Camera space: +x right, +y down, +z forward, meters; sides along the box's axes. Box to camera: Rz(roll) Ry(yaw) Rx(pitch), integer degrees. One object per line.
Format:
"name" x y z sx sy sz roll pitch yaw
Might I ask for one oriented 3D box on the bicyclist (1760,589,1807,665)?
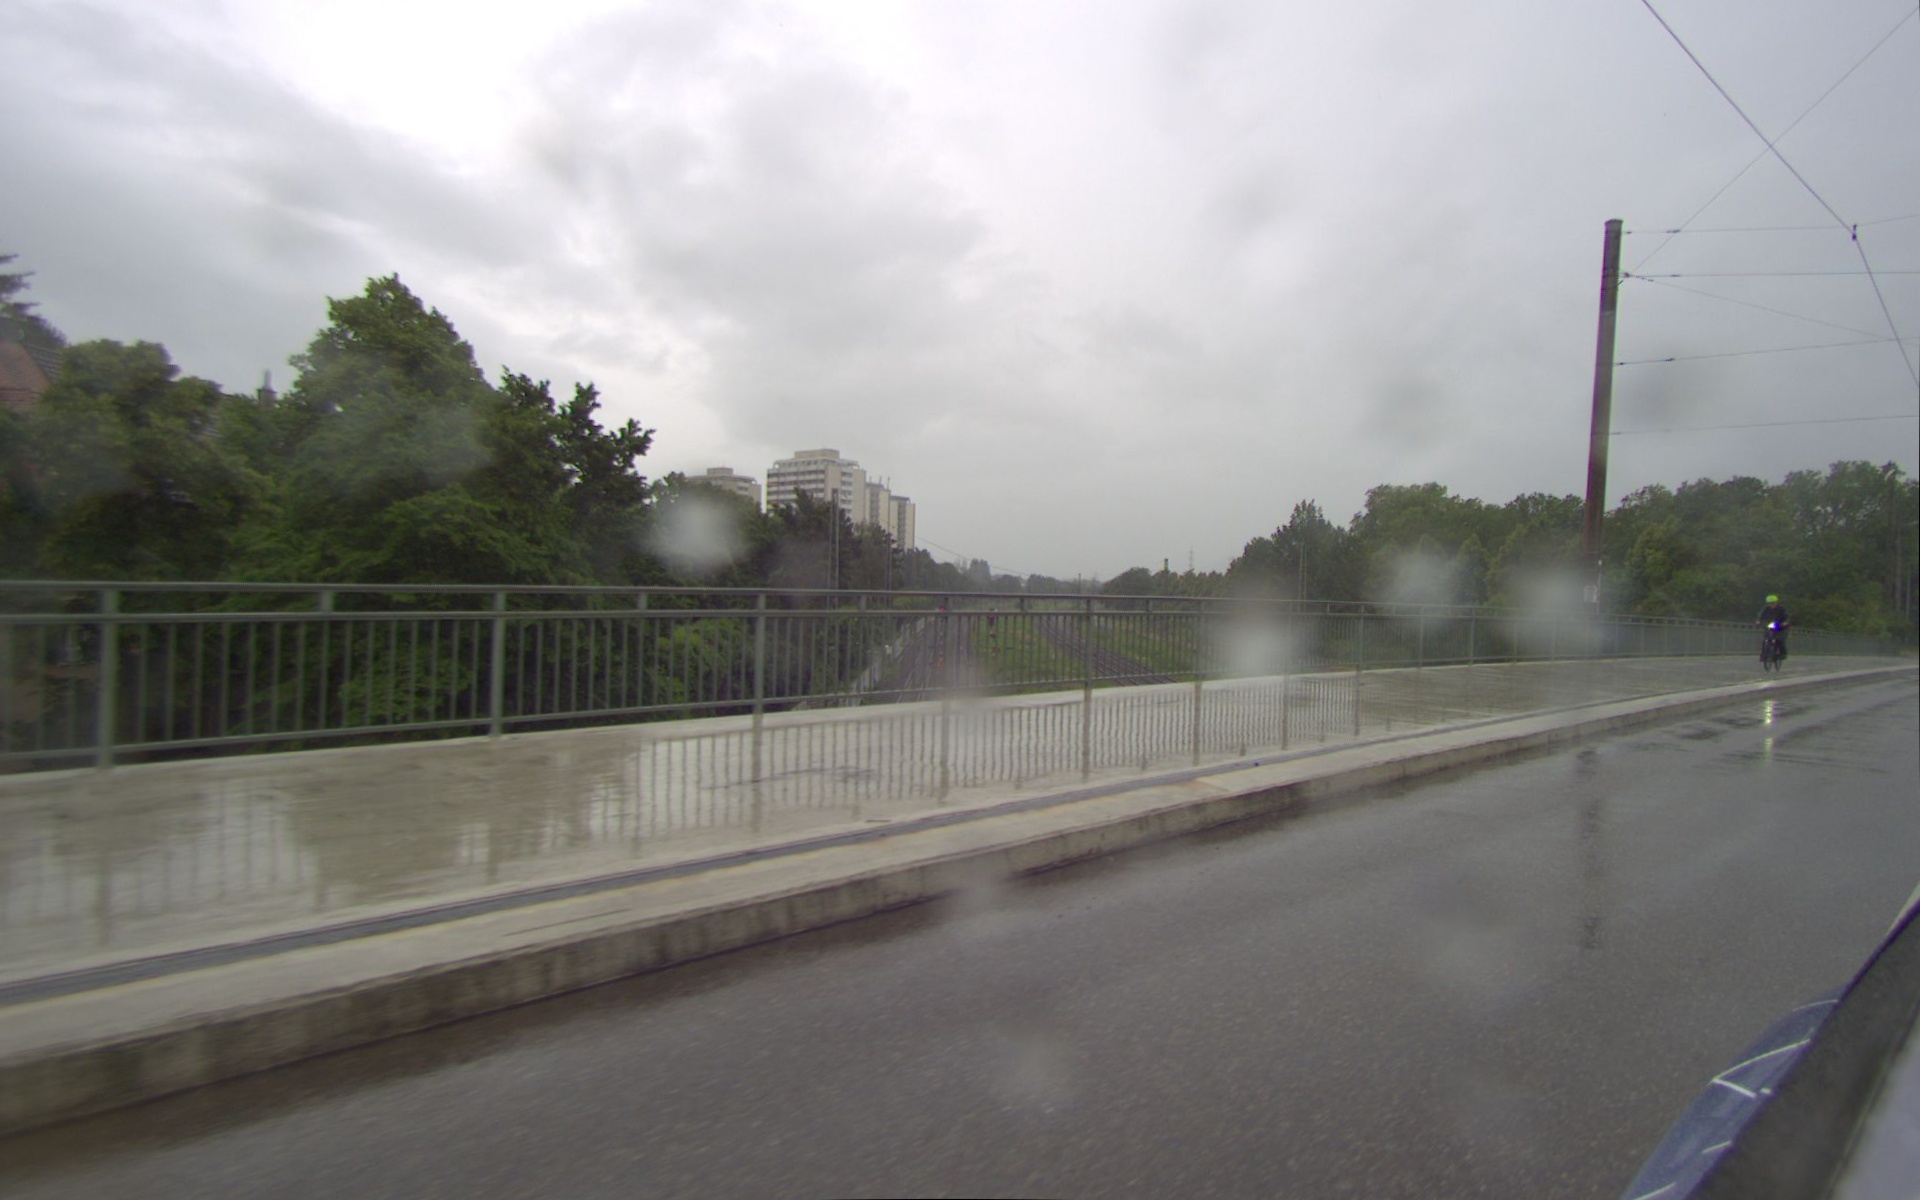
"bicyclist" 19.832 0.622 24.369 0.932 1.786 0.726 0 0 -41

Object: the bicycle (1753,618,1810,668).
"bicycle" 19.823 1.007 24.407 2.130 1.143 0.724 1 -1 -41
